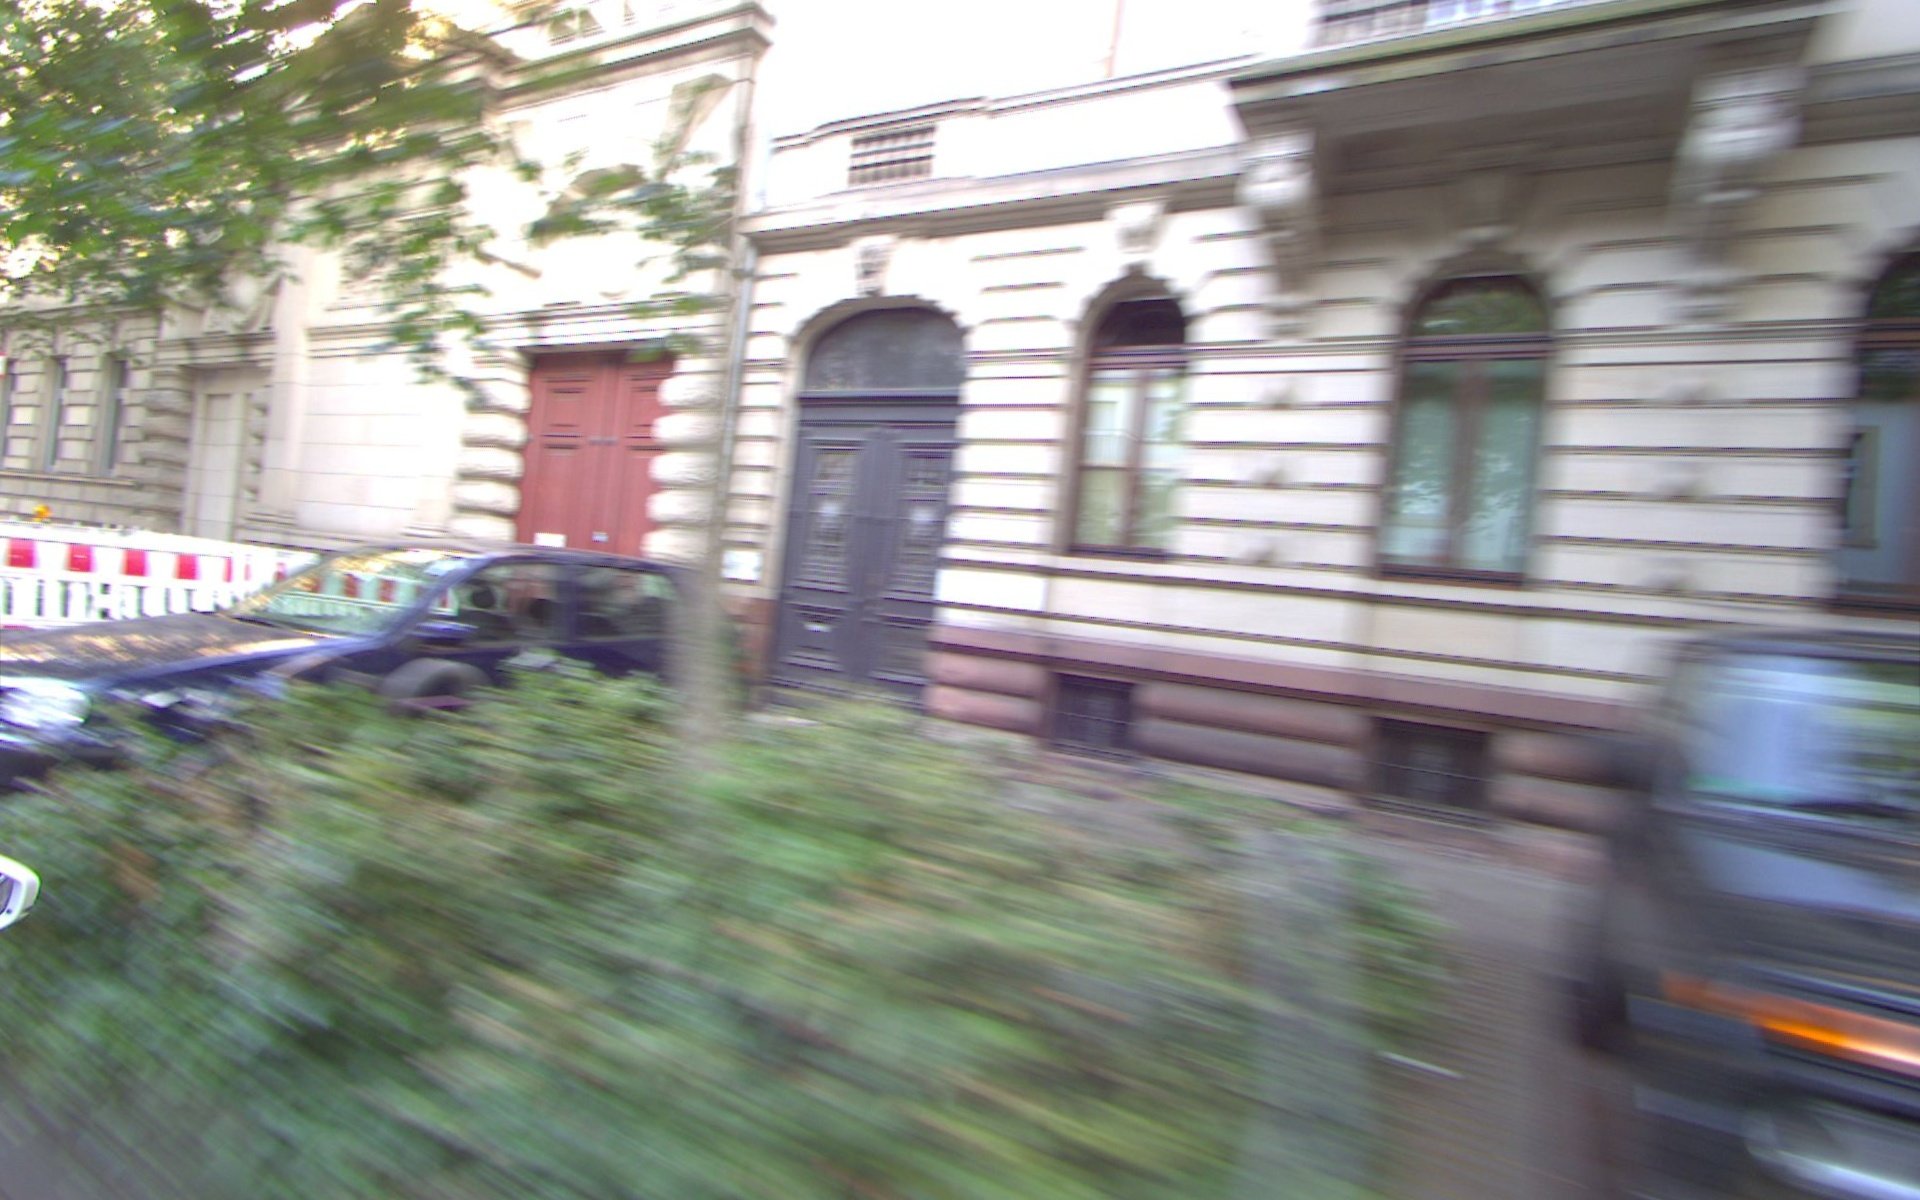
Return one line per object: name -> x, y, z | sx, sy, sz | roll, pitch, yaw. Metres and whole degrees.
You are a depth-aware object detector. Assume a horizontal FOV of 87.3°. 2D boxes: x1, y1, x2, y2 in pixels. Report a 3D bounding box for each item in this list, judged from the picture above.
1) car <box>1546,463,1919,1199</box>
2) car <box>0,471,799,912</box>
car -> 2.783, 0.896, 2.788 | 1.735, 1.707, 4.015 | 8, 0, 30
car -> -3.010, 0.316, 5.649 | 1.823, 1.500, 4.227 | 6, 1, 29
